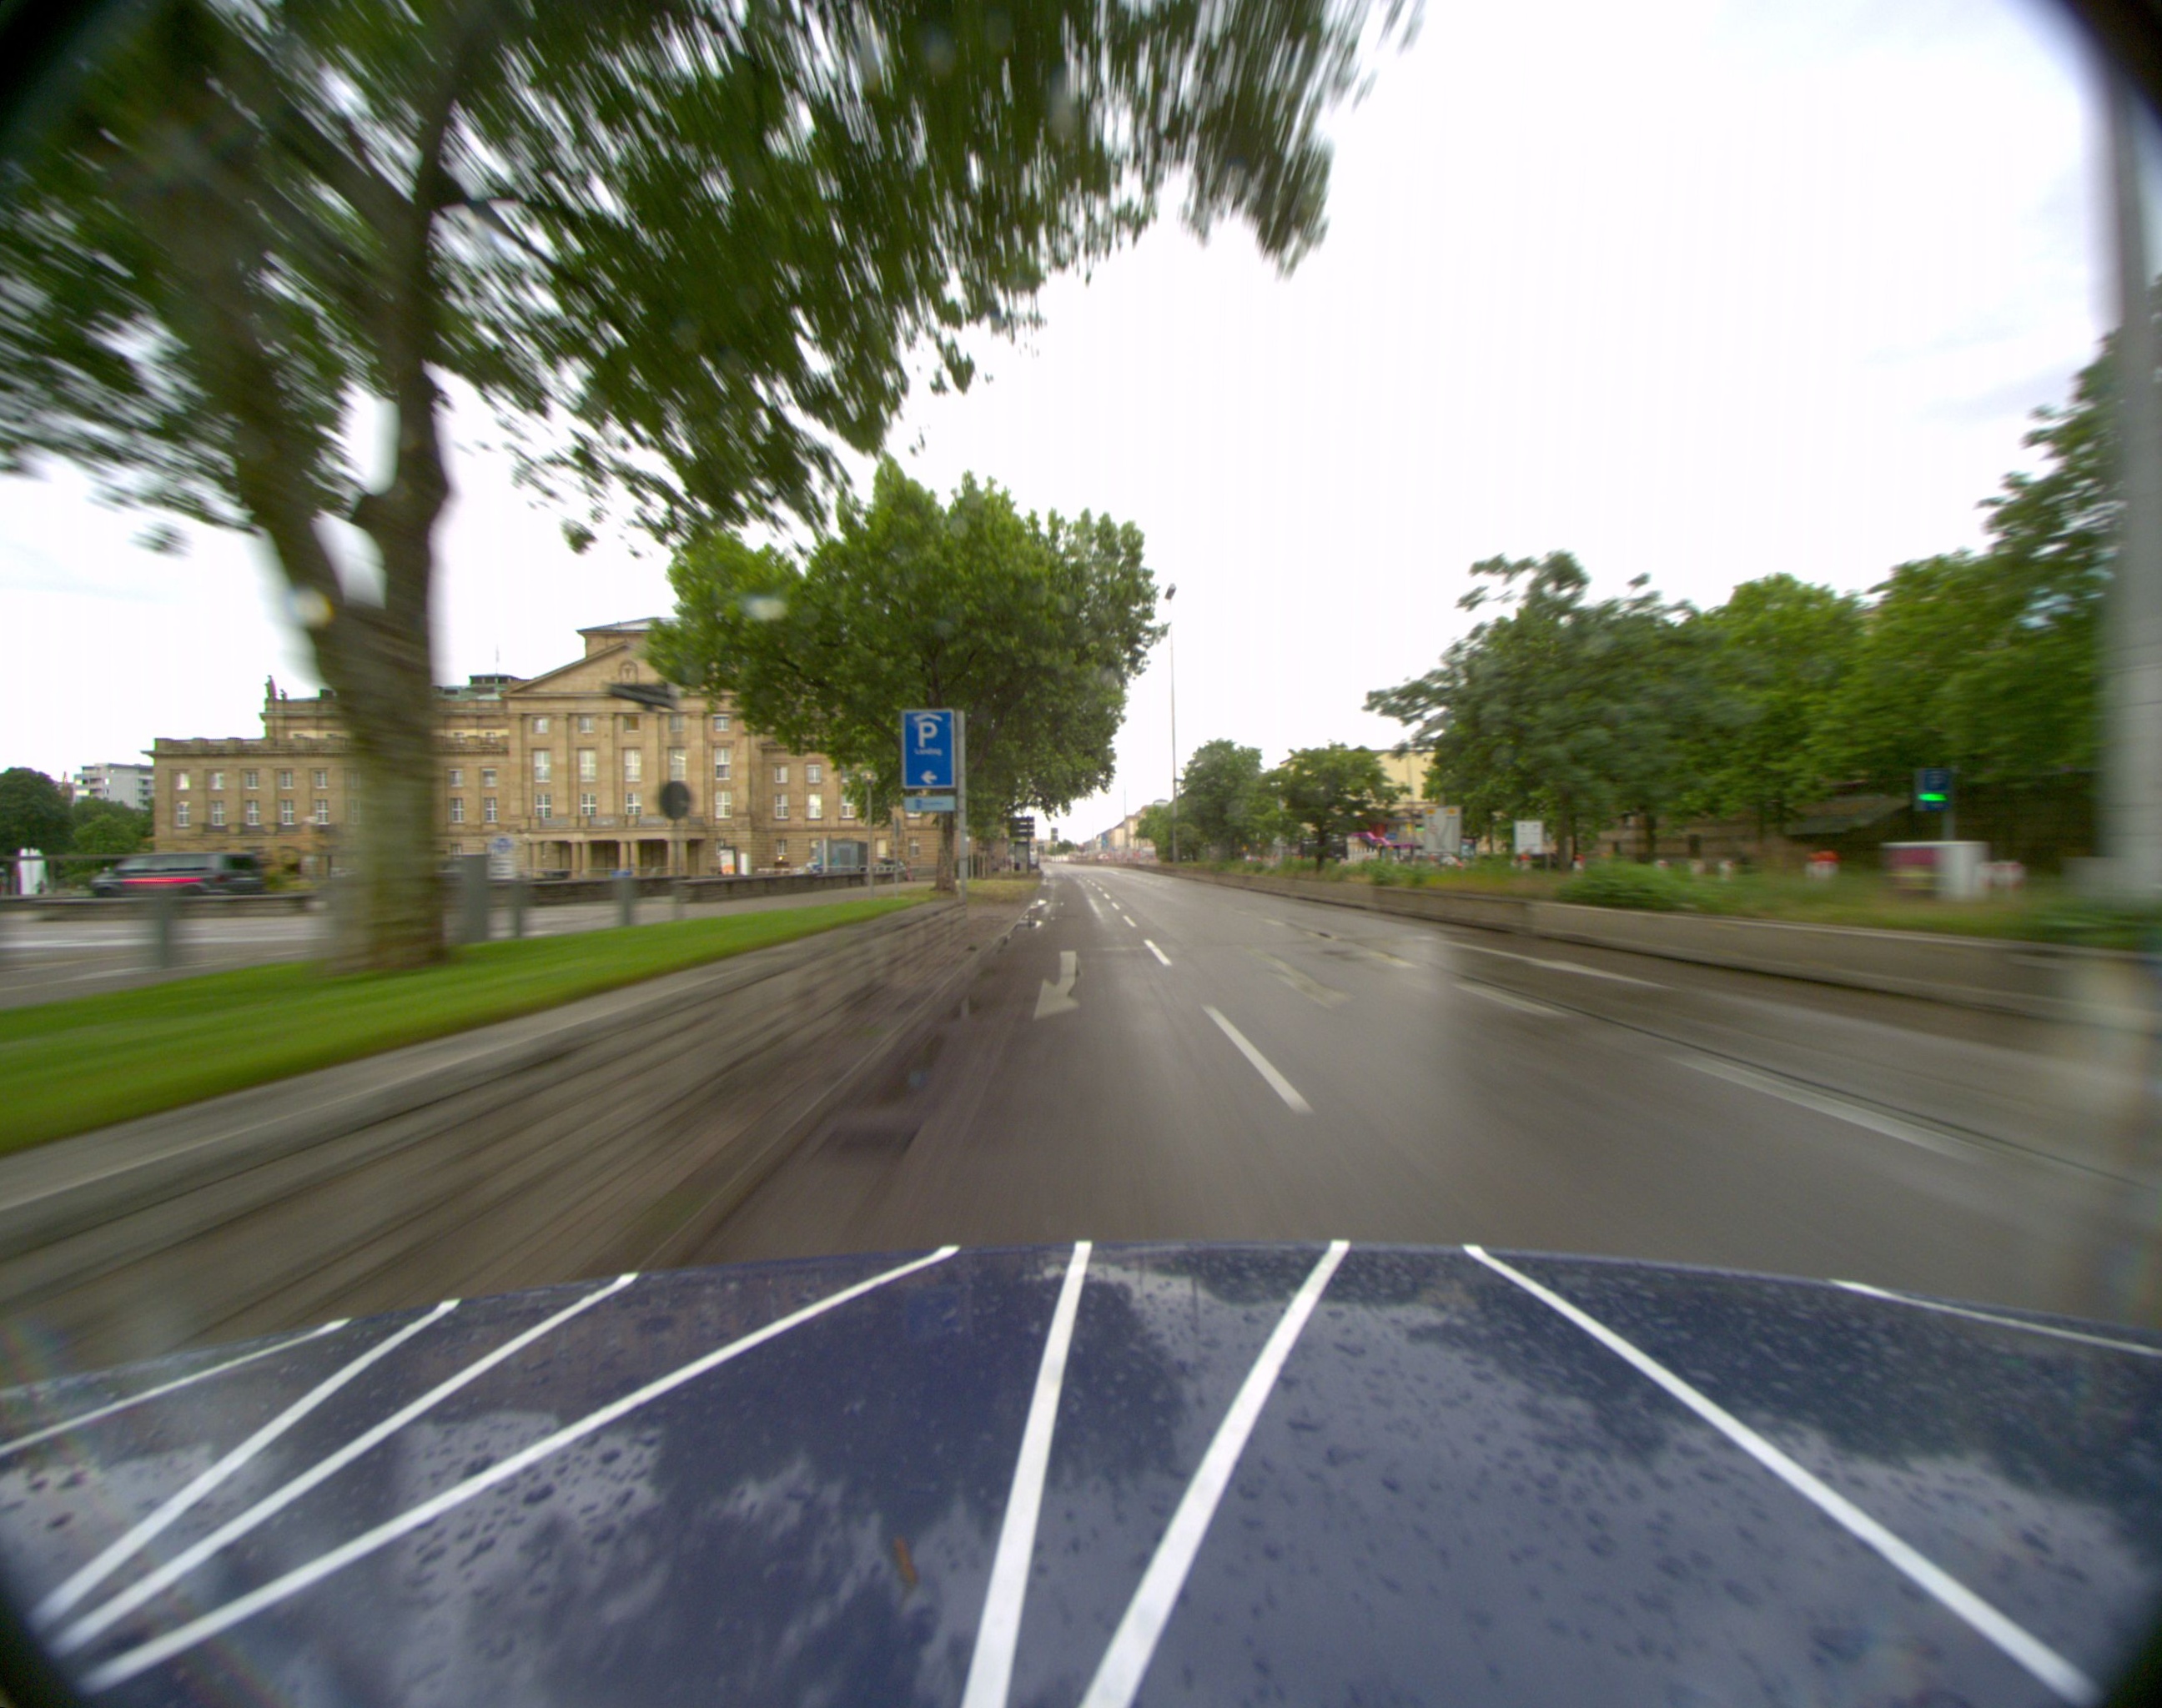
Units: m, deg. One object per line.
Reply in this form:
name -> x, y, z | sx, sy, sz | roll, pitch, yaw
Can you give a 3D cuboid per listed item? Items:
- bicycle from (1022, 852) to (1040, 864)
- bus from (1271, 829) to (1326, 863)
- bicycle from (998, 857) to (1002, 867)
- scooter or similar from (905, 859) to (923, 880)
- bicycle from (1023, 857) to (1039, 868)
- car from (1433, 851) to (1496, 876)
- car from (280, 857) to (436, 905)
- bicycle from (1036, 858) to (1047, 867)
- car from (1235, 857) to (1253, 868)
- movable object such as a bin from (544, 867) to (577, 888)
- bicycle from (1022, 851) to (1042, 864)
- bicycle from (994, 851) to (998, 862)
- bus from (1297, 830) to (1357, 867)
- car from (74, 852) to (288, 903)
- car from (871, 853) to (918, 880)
bicycle -> -5.475, 0.454, 83.603 | 1.911, 1.325, 0.650 | -2, 1, -1
bus -> 26.979, -0.940, 95.091 | 2.811, 3.789, 14.597 | -3, 0, 1
bicycle -> -10.620, 1.051, 99.833 | 0.465, 1.208, 1.690 | -2, 1, -5
scooter or similar -> -10.128, 0.952, 46.083 | 0.544, 1.248, 1.433 | 0, 0, -34
bicycle -> -5.395, 0.906, 82.740 | 1.683, 1.116, 0.601 | -2, 0, -1
car -> 24.610, 0.577, 48.899 | 1.999, 1.521, 3.999 | 1, 1, 0
car -> -25.690, 0.941, 27.078 | 3.997, 1.591, 1.656 | 0, 0, 1
bicycle -> -4.218, 0.898, 81.459 | 0.670, 0.962, 1.639 | -1, 1, 13
car -> 22.968, 1.196, 107.233 | 1.596, 1.492, 3.212 | -2, 1, -5
movable object such as a bin -> -37.645, 1.657, 54.991 | 1.493, 1.449, 1.249 | 1, 1, 0
bicycle -> -5.354, 0.381, 82.900 | 2.196, 1.329, 0.650 | 0, 1, -1
bicycle -> -11.126, 0.335, 99.582 | 0.455, 1.507, 1.599 | -3, 1, -4
bus -> 30.786, -0.658, 95.923 | 3.126, 4.227, 13.494 | -3, 0, 1
car -> -34.498, 0.868, 29.294 | 5.021, 1.753, 2.459 | -1, 0, -4
car -> -12.185, 0.842, 49.995 | 1.999, 1.600, 5.235 | -2, -1, -3
